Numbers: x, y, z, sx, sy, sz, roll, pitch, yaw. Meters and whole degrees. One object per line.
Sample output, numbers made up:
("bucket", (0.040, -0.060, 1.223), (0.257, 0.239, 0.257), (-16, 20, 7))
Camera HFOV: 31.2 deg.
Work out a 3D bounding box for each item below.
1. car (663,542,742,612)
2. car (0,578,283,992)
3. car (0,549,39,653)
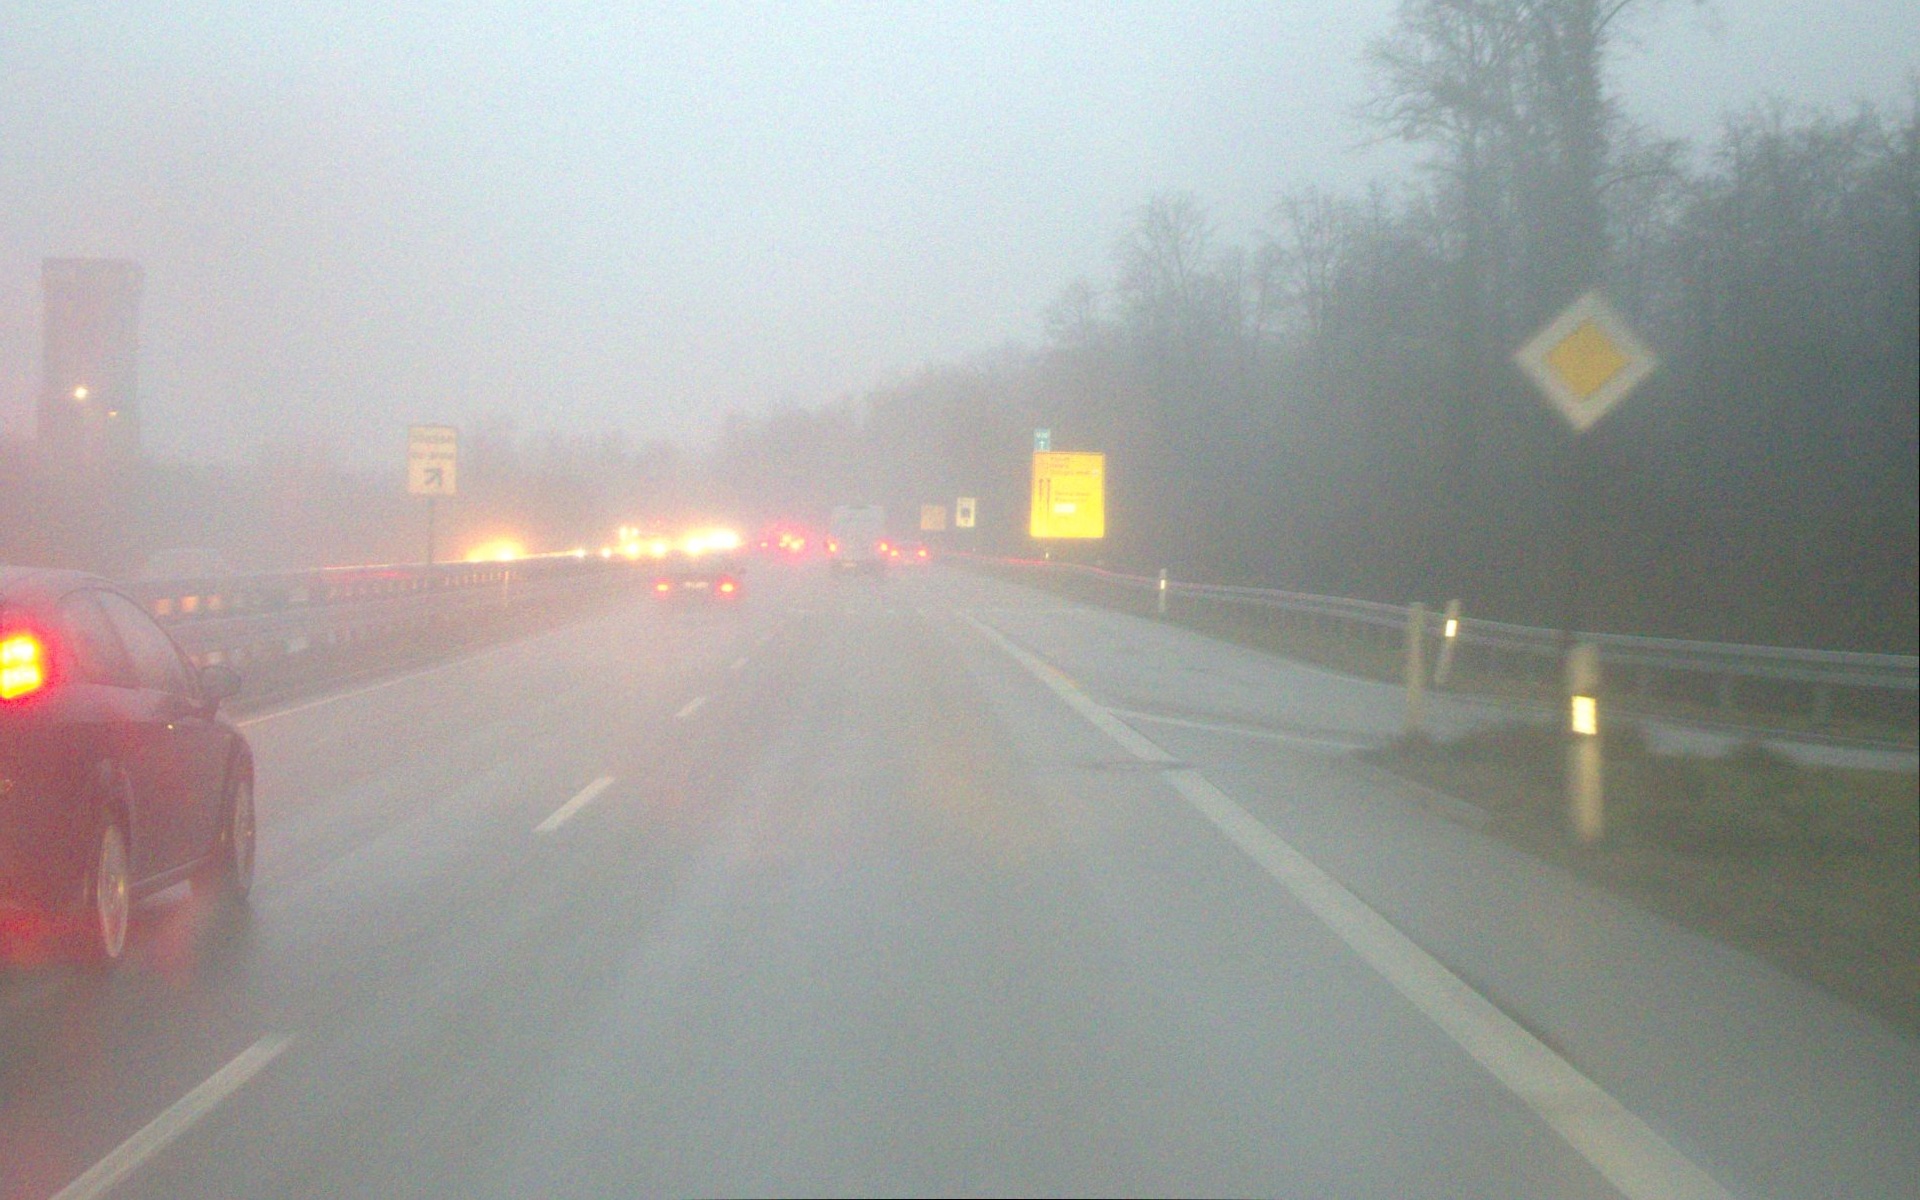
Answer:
("car", (-5.055, -0.468, 67.713), (1.416, 1.312, 3.083), (1, 1, -2))
("car", (-3.864, 0.628, 13.920), (1.625, 1.387, 4.001), (1, 1, -3))
("car", (-14.792, -0.001, 50.087), (1.736, 1.503, 4.000), (1, 1, -1))
